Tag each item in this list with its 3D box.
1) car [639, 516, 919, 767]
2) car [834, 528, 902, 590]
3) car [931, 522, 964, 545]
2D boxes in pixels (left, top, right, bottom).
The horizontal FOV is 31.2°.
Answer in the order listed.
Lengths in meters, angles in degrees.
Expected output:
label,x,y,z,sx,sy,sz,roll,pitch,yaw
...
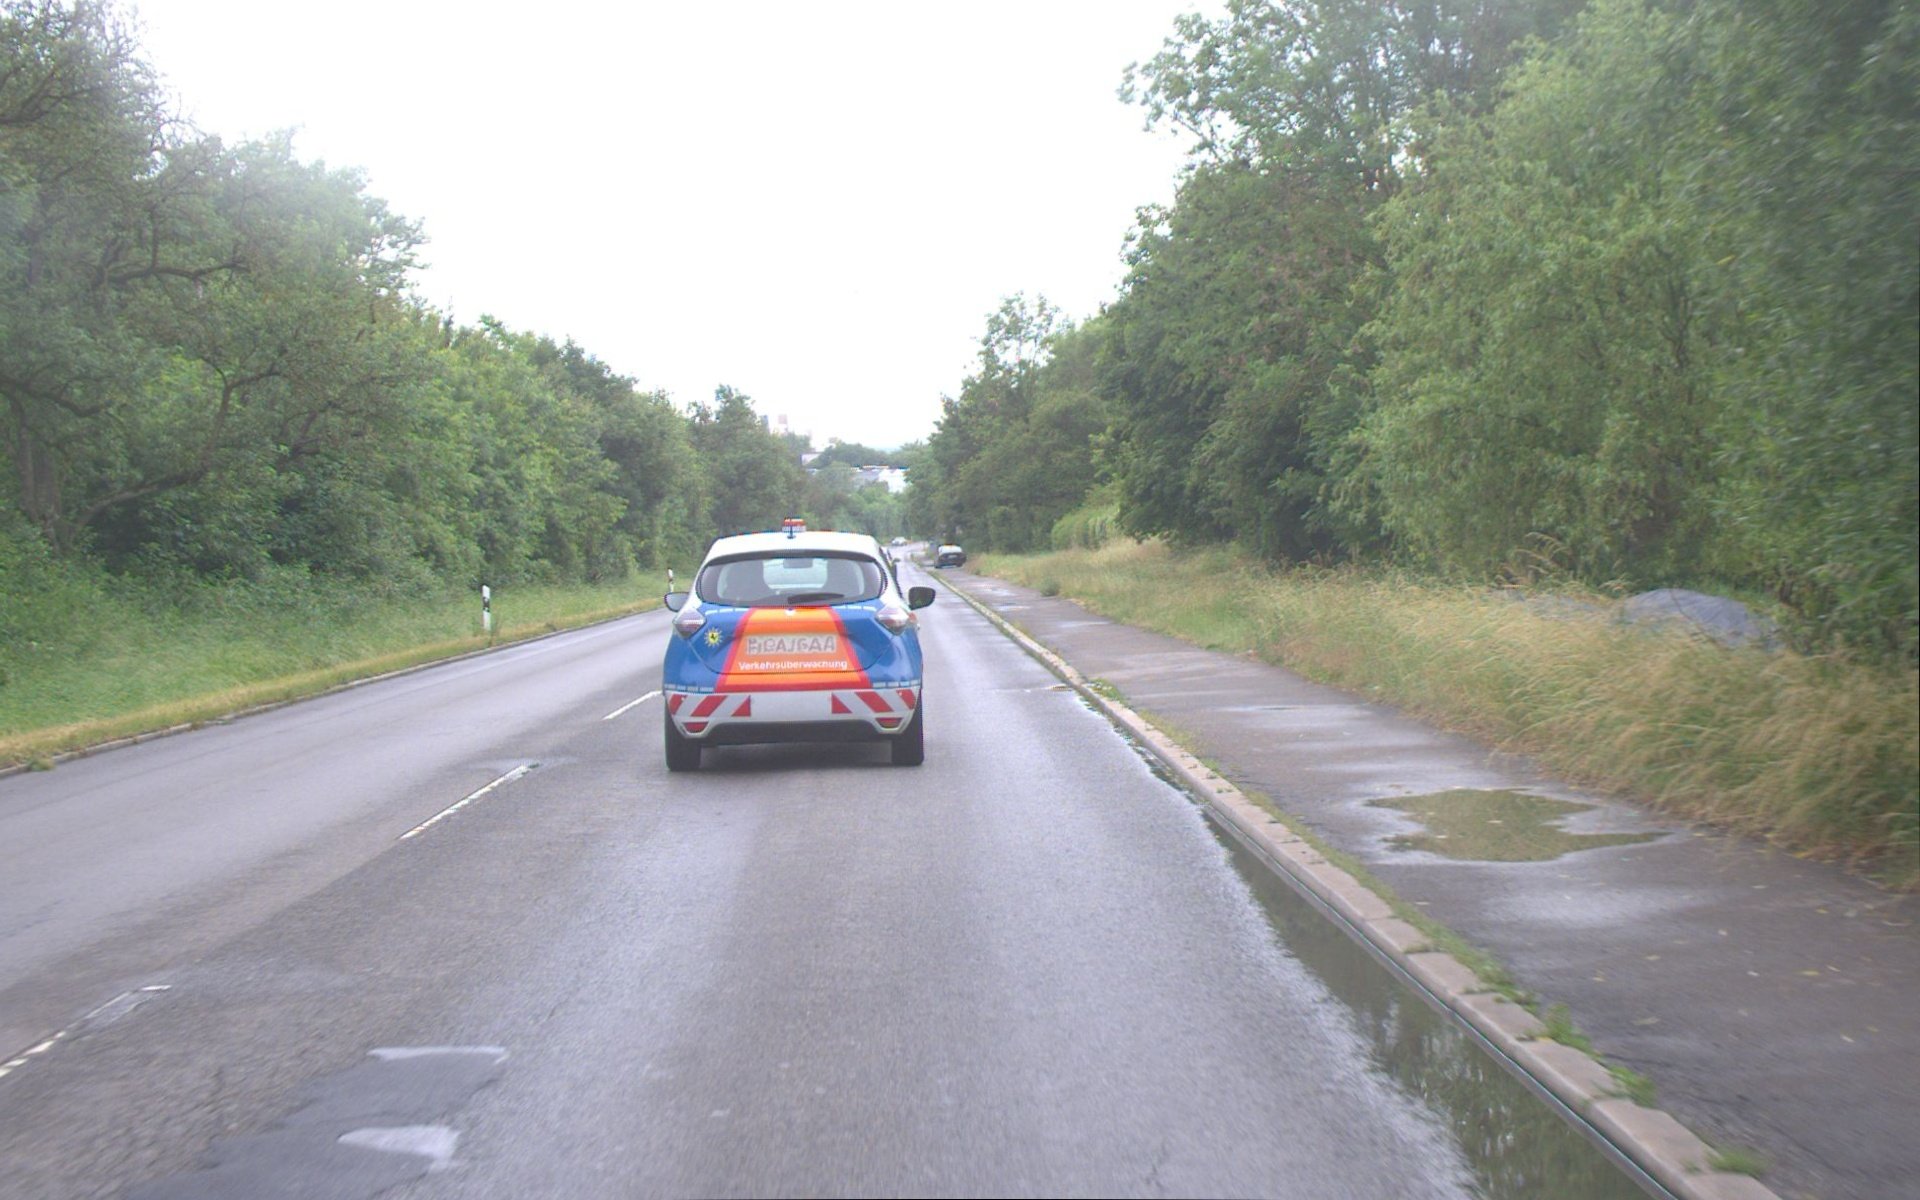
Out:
label,x,y,z,sx,sy,sz,roll,pitch,yaw
car,-1.191,0.215,23.793,1.752,1.550,3.793,-1,2,-1
car,-2.796,-1.275,105.159,1.941,1.717,4.063,-3,1,0
car,-0.794,-4.241,220.174,1.993,1.371,4.000,-3,1,0
